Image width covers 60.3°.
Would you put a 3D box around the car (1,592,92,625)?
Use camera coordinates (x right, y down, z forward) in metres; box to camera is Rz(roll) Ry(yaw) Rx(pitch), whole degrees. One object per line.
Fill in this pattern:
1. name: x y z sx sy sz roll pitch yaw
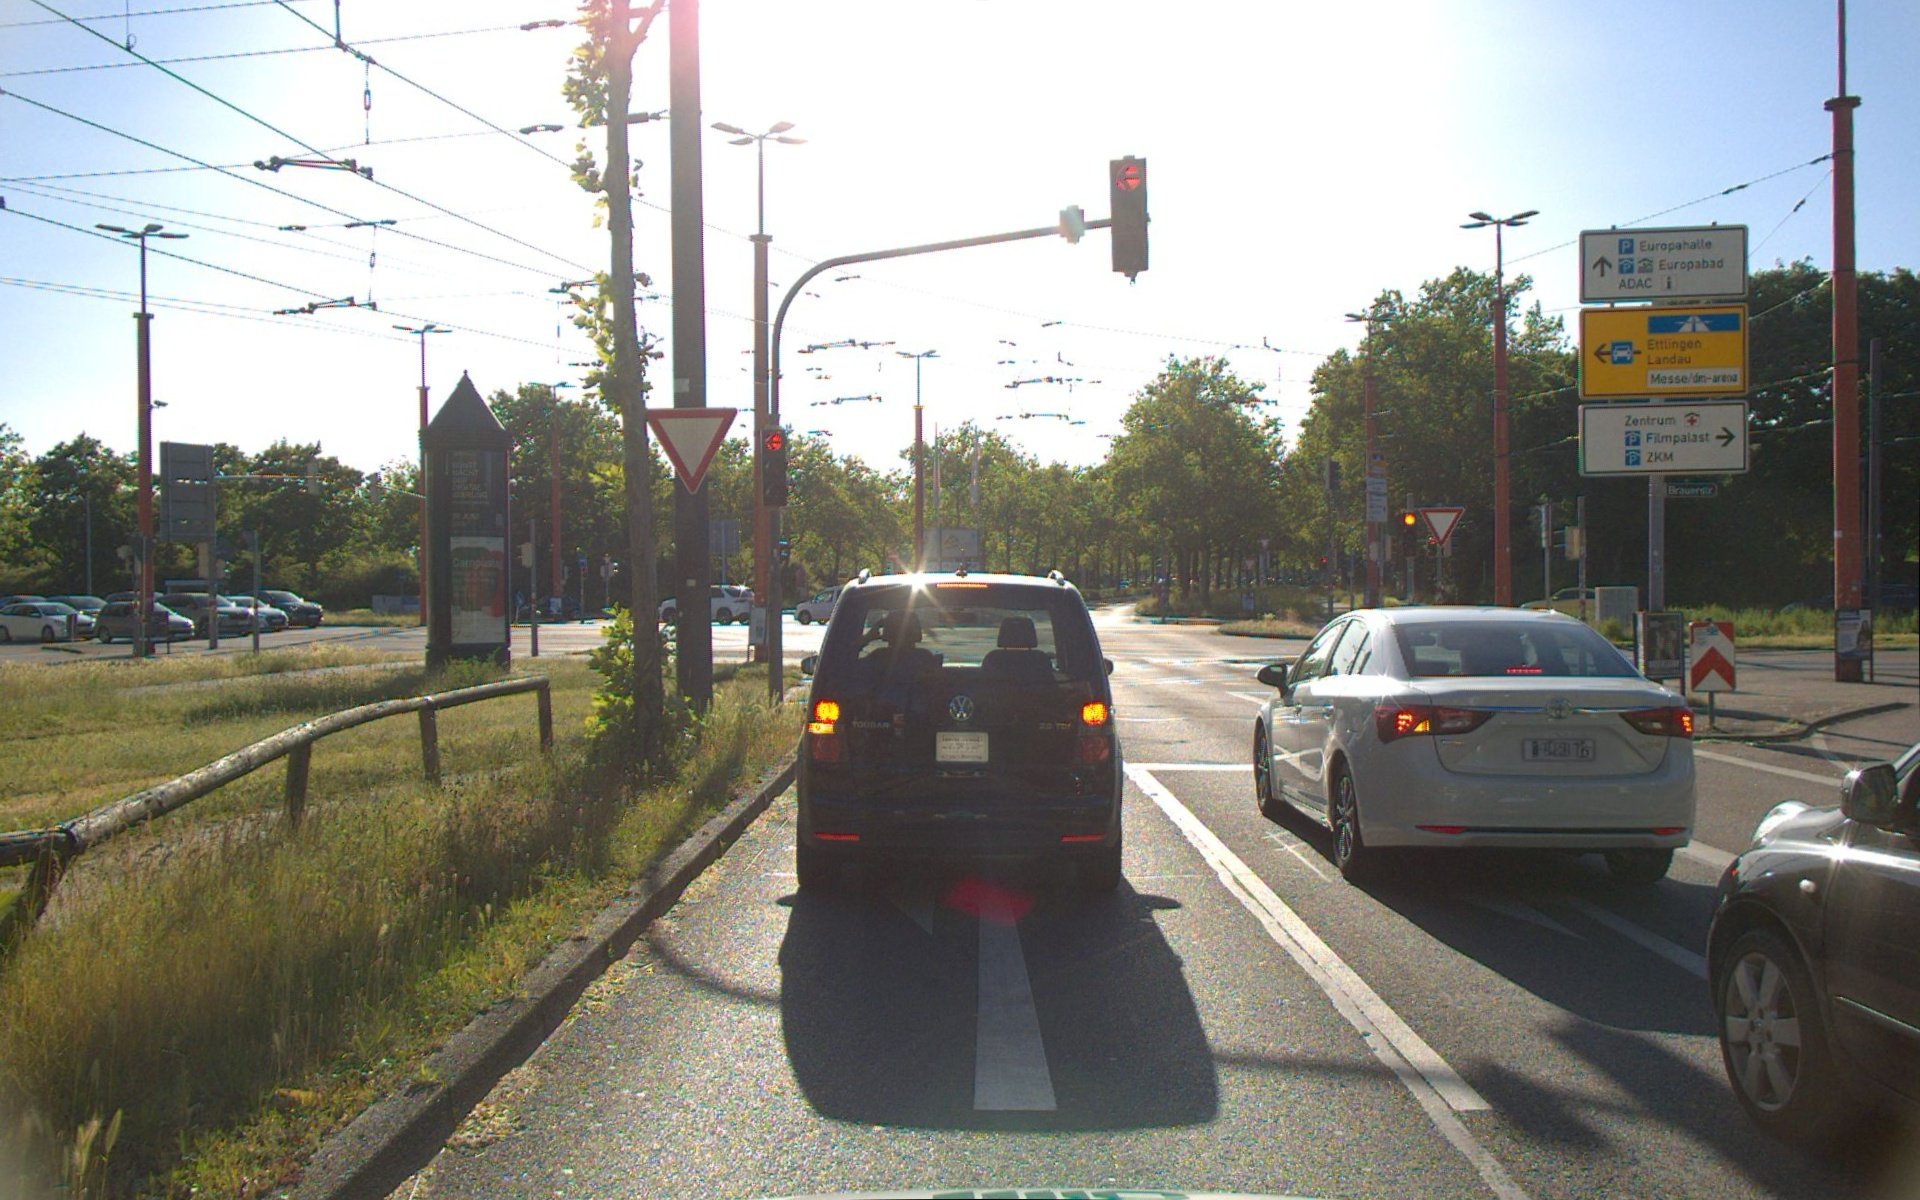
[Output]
1. car: -40.878 0.368 73.993 4.060 1.440 1.542 0 0 26

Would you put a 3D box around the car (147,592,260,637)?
1. car: -29.324 0.540 64.090 4.541 1.676 1.654 0 0 30

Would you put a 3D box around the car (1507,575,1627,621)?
1. car: 22.915 -0.090 62.408 4.120 1.710 1.655 0 0 26

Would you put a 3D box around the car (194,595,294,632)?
1. car: -29.411 0.531 67.925 4.060 1.440 1.542 0 0 26

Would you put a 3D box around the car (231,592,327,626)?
1. car: -29.475 0.372 71.548 4.060 1.440 1.542 0 0 26

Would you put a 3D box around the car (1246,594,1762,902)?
1. car: 3.013 0.728 10.186 1.762 1.465 4.326 1 0 0

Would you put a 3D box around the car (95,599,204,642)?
1. car: -29.550 0.730 60.299 3.755 1.466 1.655 0 0 27

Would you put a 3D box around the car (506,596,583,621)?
1. car: -23.808 0.484 94.794 4.072 1.427 1.641 0 0 -29

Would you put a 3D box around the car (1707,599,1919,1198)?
1. car: 3.134 0.741 3.489 1.544 1.465 3.441 1 0 0

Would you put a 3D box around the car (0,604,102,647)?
1. car: -35.012 0.969 63.291 4.536 1.546 1.654 0 0 30

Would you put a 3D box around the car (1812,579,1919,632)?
1. car: 30.420 0.167 54.425 4.118 1.710 1.656 0 0 23

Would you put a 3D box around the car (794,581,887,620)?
1. car: -5.547 0.004 76.735 4.036 1.780 1.656 0 0 24

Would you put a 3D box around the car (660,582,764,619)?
1. car: -11.327 0.017 75.381 4.568 1.654 1.655 0 0 26

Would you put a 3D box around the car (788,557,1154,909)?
1. car: 0.065 0.634 9.964 1.703 1.630 4.326 1 0 0
